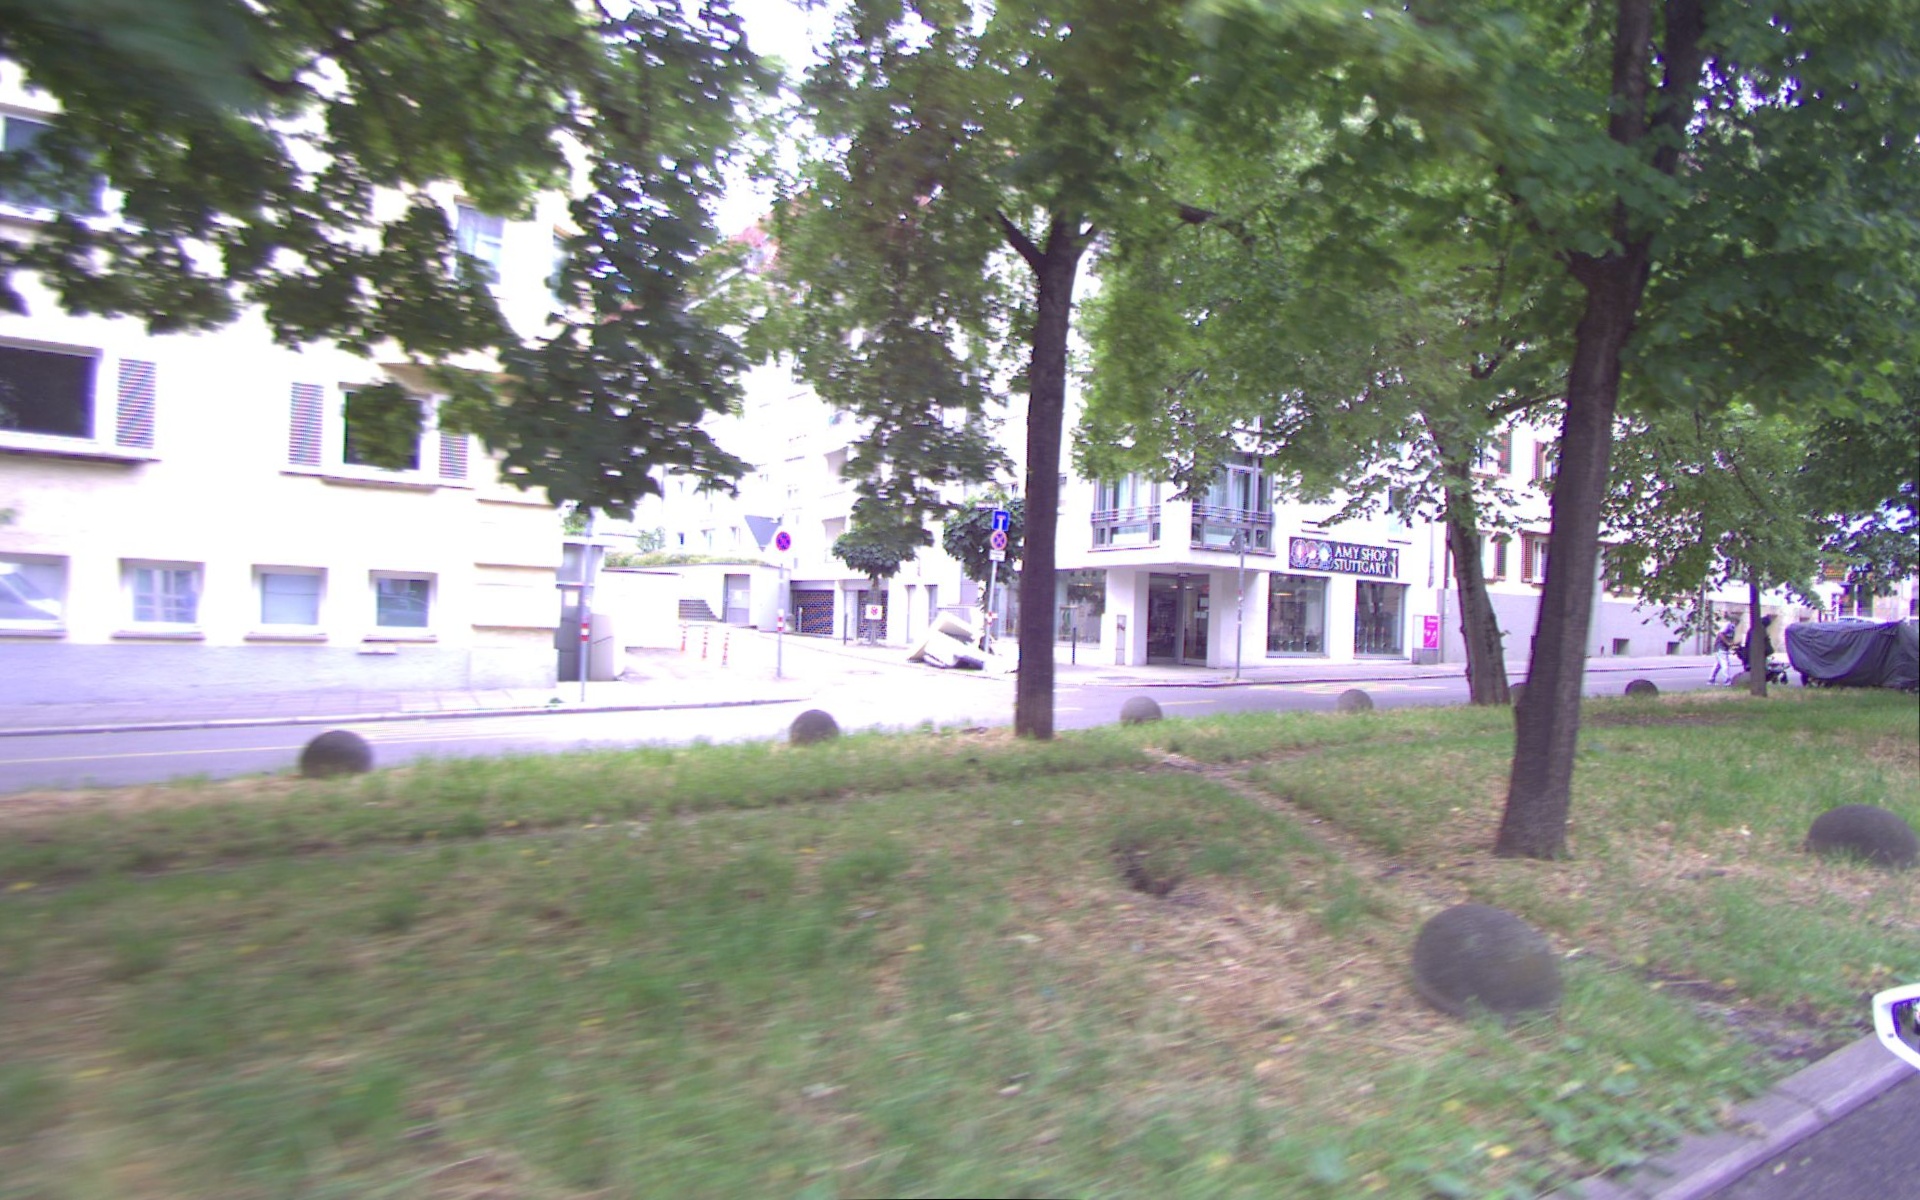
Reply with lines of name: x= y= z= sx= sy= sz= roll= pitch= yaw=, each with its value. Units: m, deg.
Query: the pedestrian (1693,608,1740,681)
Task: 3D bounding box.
pedestrian: x=17.354 y=1.010 z=23.053 sx=0.572 sy=1.638 sz=0.660 roll=0 pitch=1 yaw=-28

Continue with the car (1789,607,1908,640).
car: x=43.488 y=1.108 z=49.228 sx=1.976 sy=1.517 sz=3.968 roll=0 pitch=0 yaw=-30

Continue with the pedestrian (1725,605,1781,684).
pedestrian: x=16.964 y=0.941 z=21.500 sx=0.753 sy=1.635 sz=0.632 roll=0 pitch=1 yaw=-24

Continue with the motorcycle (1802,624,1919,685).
motorcycle: x=20.003 y=1.176 z=22.167 sx=0.615 sy=1.252 sz=2.121 roll=2 pitch=-2 yaw=-30

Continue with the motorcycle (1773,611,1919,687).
motorcycle: x=17.275 y=0.901 z=19.292 sx=1.033 sy=1.335 sz=2.370 roll=0 pitch=0 yaw=-31

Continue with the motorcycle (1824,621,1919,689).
motorcycle: x=19.250 y=1.117 z=20.970 sx=0.617 sy=1.356 sz=1.753 roll=1 pitch=-1 yaw=-31
